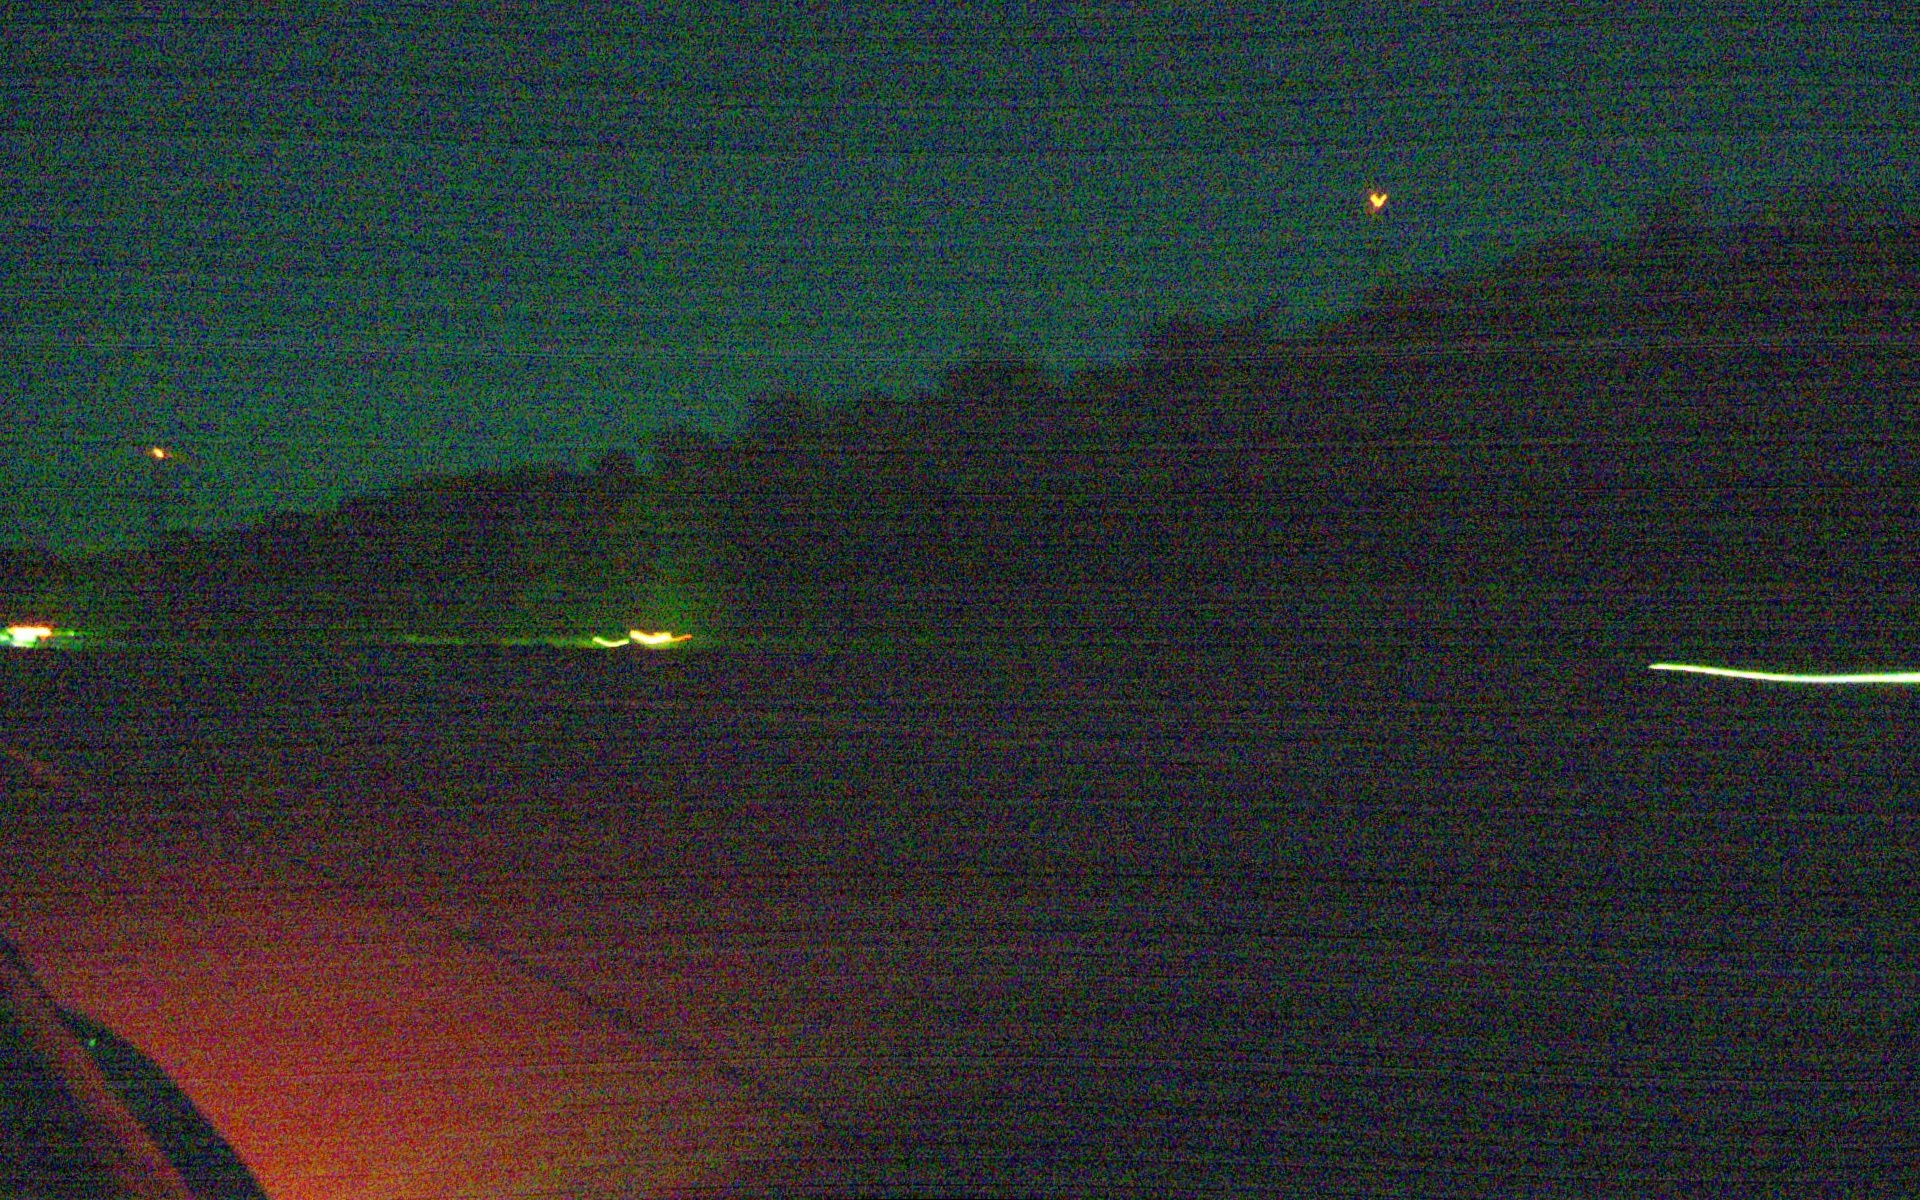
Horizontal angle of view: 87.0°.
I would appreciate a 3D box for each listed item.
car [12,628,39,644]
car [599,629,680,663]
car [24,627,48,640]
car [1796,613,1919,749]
[{"bbox_3d":[-107.470,4.127,116.376,3.998,1.630,1.835,-1,0,41],"label":"car"},{"bbox_3d":[-15.130,2.128,47.751,3.997,1.491,1.774,-1,0,40],"label":"car"},{"bbox_3d":[-119.719,4.352,131.082,3.998,1.630,1.835,-1,0,41],"label":"car"},{"bbox_3d":[13.604,0.998,12.433,5.107,1.663,1.988,-1,0,41],"label":"car"}]
